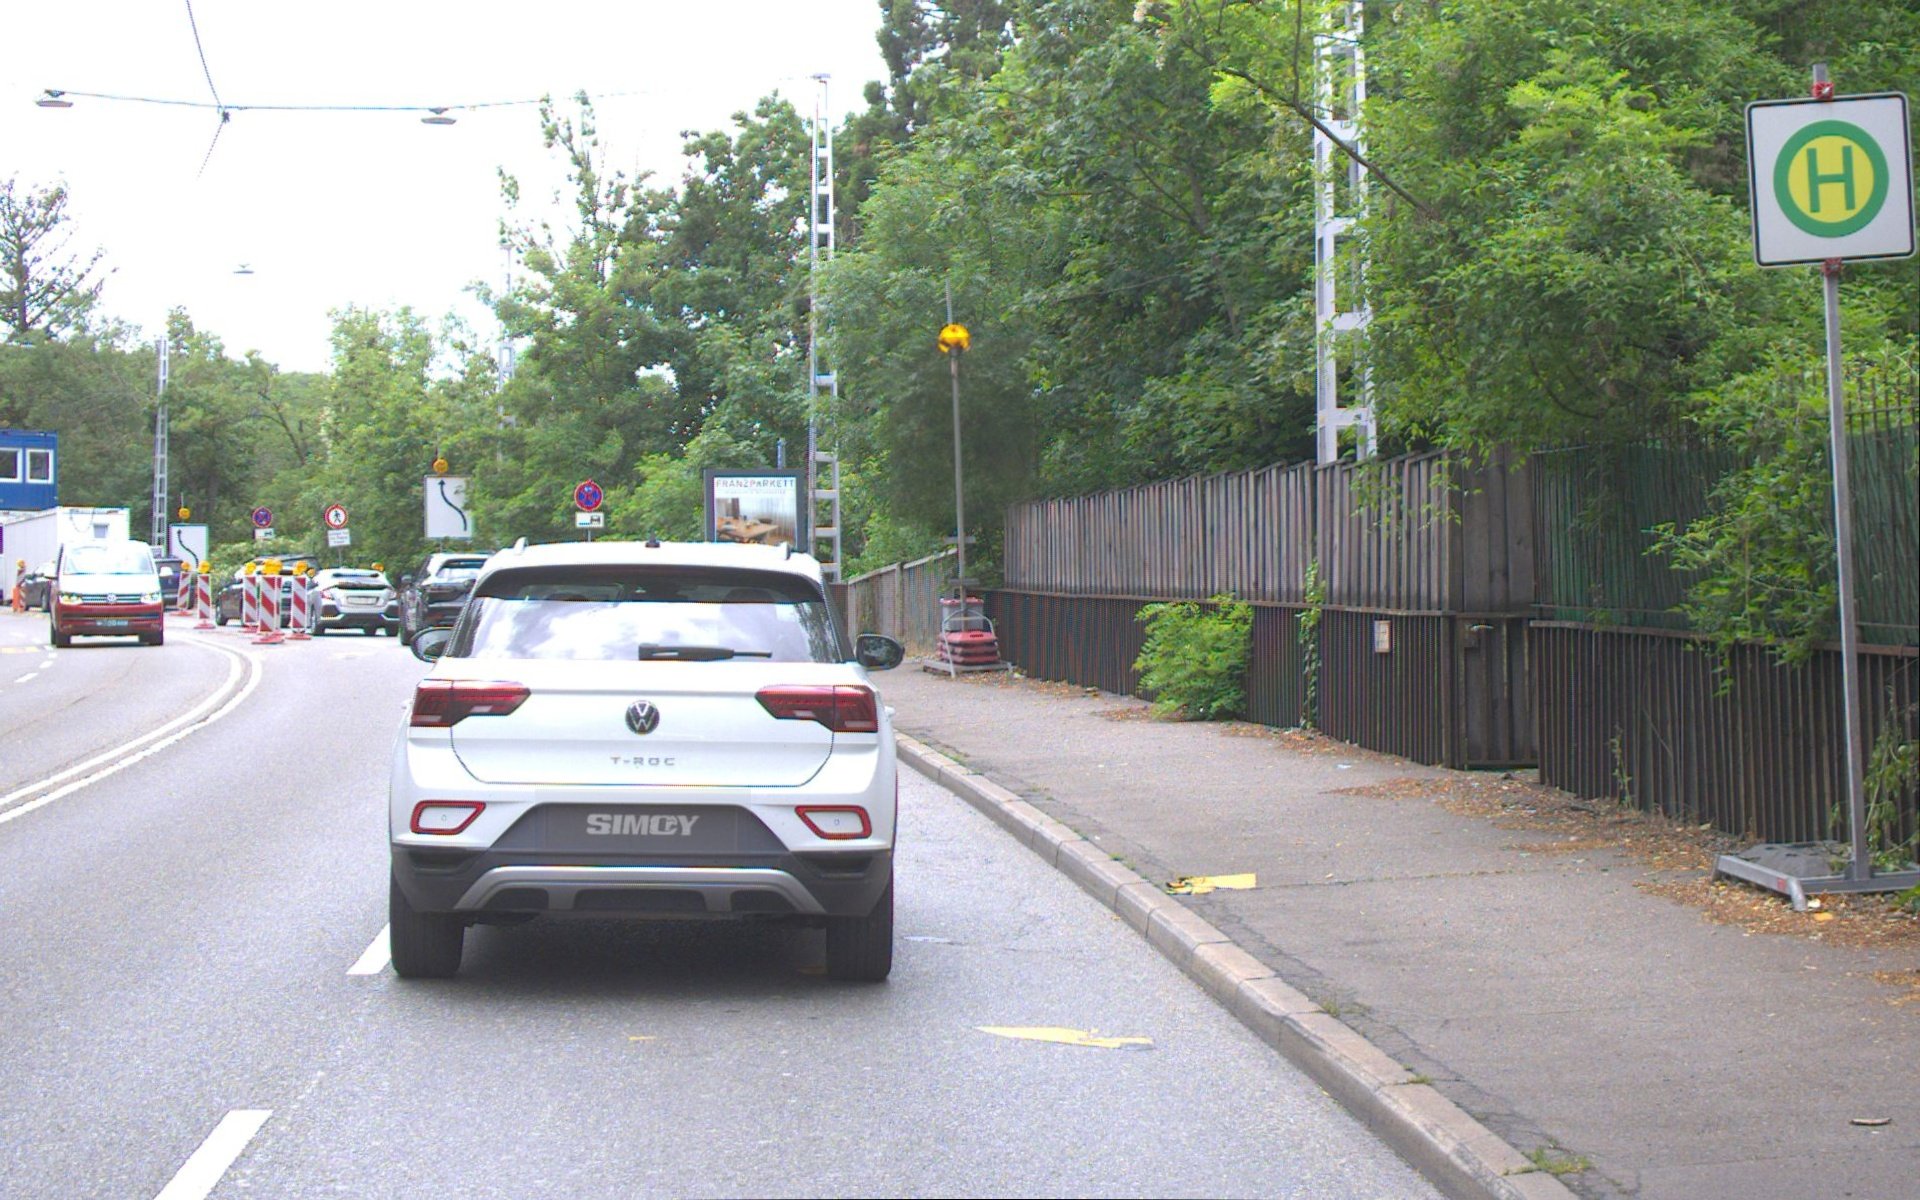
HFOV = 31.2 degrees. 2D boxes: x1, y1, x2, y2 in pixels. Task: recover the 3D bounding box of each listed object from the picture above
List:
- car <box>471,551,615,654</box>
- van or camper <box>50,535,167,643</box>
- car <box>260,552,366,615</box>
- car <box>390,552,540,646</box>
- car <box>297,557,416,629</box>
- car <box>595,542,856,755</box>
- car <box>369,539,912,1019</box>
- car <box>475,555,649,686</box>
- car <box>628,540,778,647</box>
[{"bbox_3d":[-6.251,0.045,51.181,1.993,1.409,4.151,-2,0,-8],"label":"car"},{"bbox_3d":[-15.683,-0.219,63.515,1.889,1.872,4.766,-2,1,-12],"label":"van or camper"},{"bbox_3d":[-15.572,-0.389,82.619,1.993,1.445,4.152,-1,0,-18],"label":"car"},{"bbox_3d":[-8.744,-0.044,60.522,1.993,1.551,4.152,0,1,-17],"label":"car"},{"bbox_3d":[-12.881,-0.147,73.205,1.993,1.445,4.152,-1,0,-17],"label":"car"},{"bbox_3d":[-1.969,0.353,27.906,1.757,1.604,3.796,0,0,-9],"label":"car"},{"bbox_3d":[-1.248,0.567,13.097,1.757,1.550,3.796,0,0,-6],"label":"car"},{"bbox_3d":[-4.753,0.216,40.678,1.757,1.466,3.796,0,0,-11],"label":"car"},{"bbox_3d":[-3.996,-0.128,52.884,1.765,1.516,4.395,-2,1,-11],"label":"car"}]
